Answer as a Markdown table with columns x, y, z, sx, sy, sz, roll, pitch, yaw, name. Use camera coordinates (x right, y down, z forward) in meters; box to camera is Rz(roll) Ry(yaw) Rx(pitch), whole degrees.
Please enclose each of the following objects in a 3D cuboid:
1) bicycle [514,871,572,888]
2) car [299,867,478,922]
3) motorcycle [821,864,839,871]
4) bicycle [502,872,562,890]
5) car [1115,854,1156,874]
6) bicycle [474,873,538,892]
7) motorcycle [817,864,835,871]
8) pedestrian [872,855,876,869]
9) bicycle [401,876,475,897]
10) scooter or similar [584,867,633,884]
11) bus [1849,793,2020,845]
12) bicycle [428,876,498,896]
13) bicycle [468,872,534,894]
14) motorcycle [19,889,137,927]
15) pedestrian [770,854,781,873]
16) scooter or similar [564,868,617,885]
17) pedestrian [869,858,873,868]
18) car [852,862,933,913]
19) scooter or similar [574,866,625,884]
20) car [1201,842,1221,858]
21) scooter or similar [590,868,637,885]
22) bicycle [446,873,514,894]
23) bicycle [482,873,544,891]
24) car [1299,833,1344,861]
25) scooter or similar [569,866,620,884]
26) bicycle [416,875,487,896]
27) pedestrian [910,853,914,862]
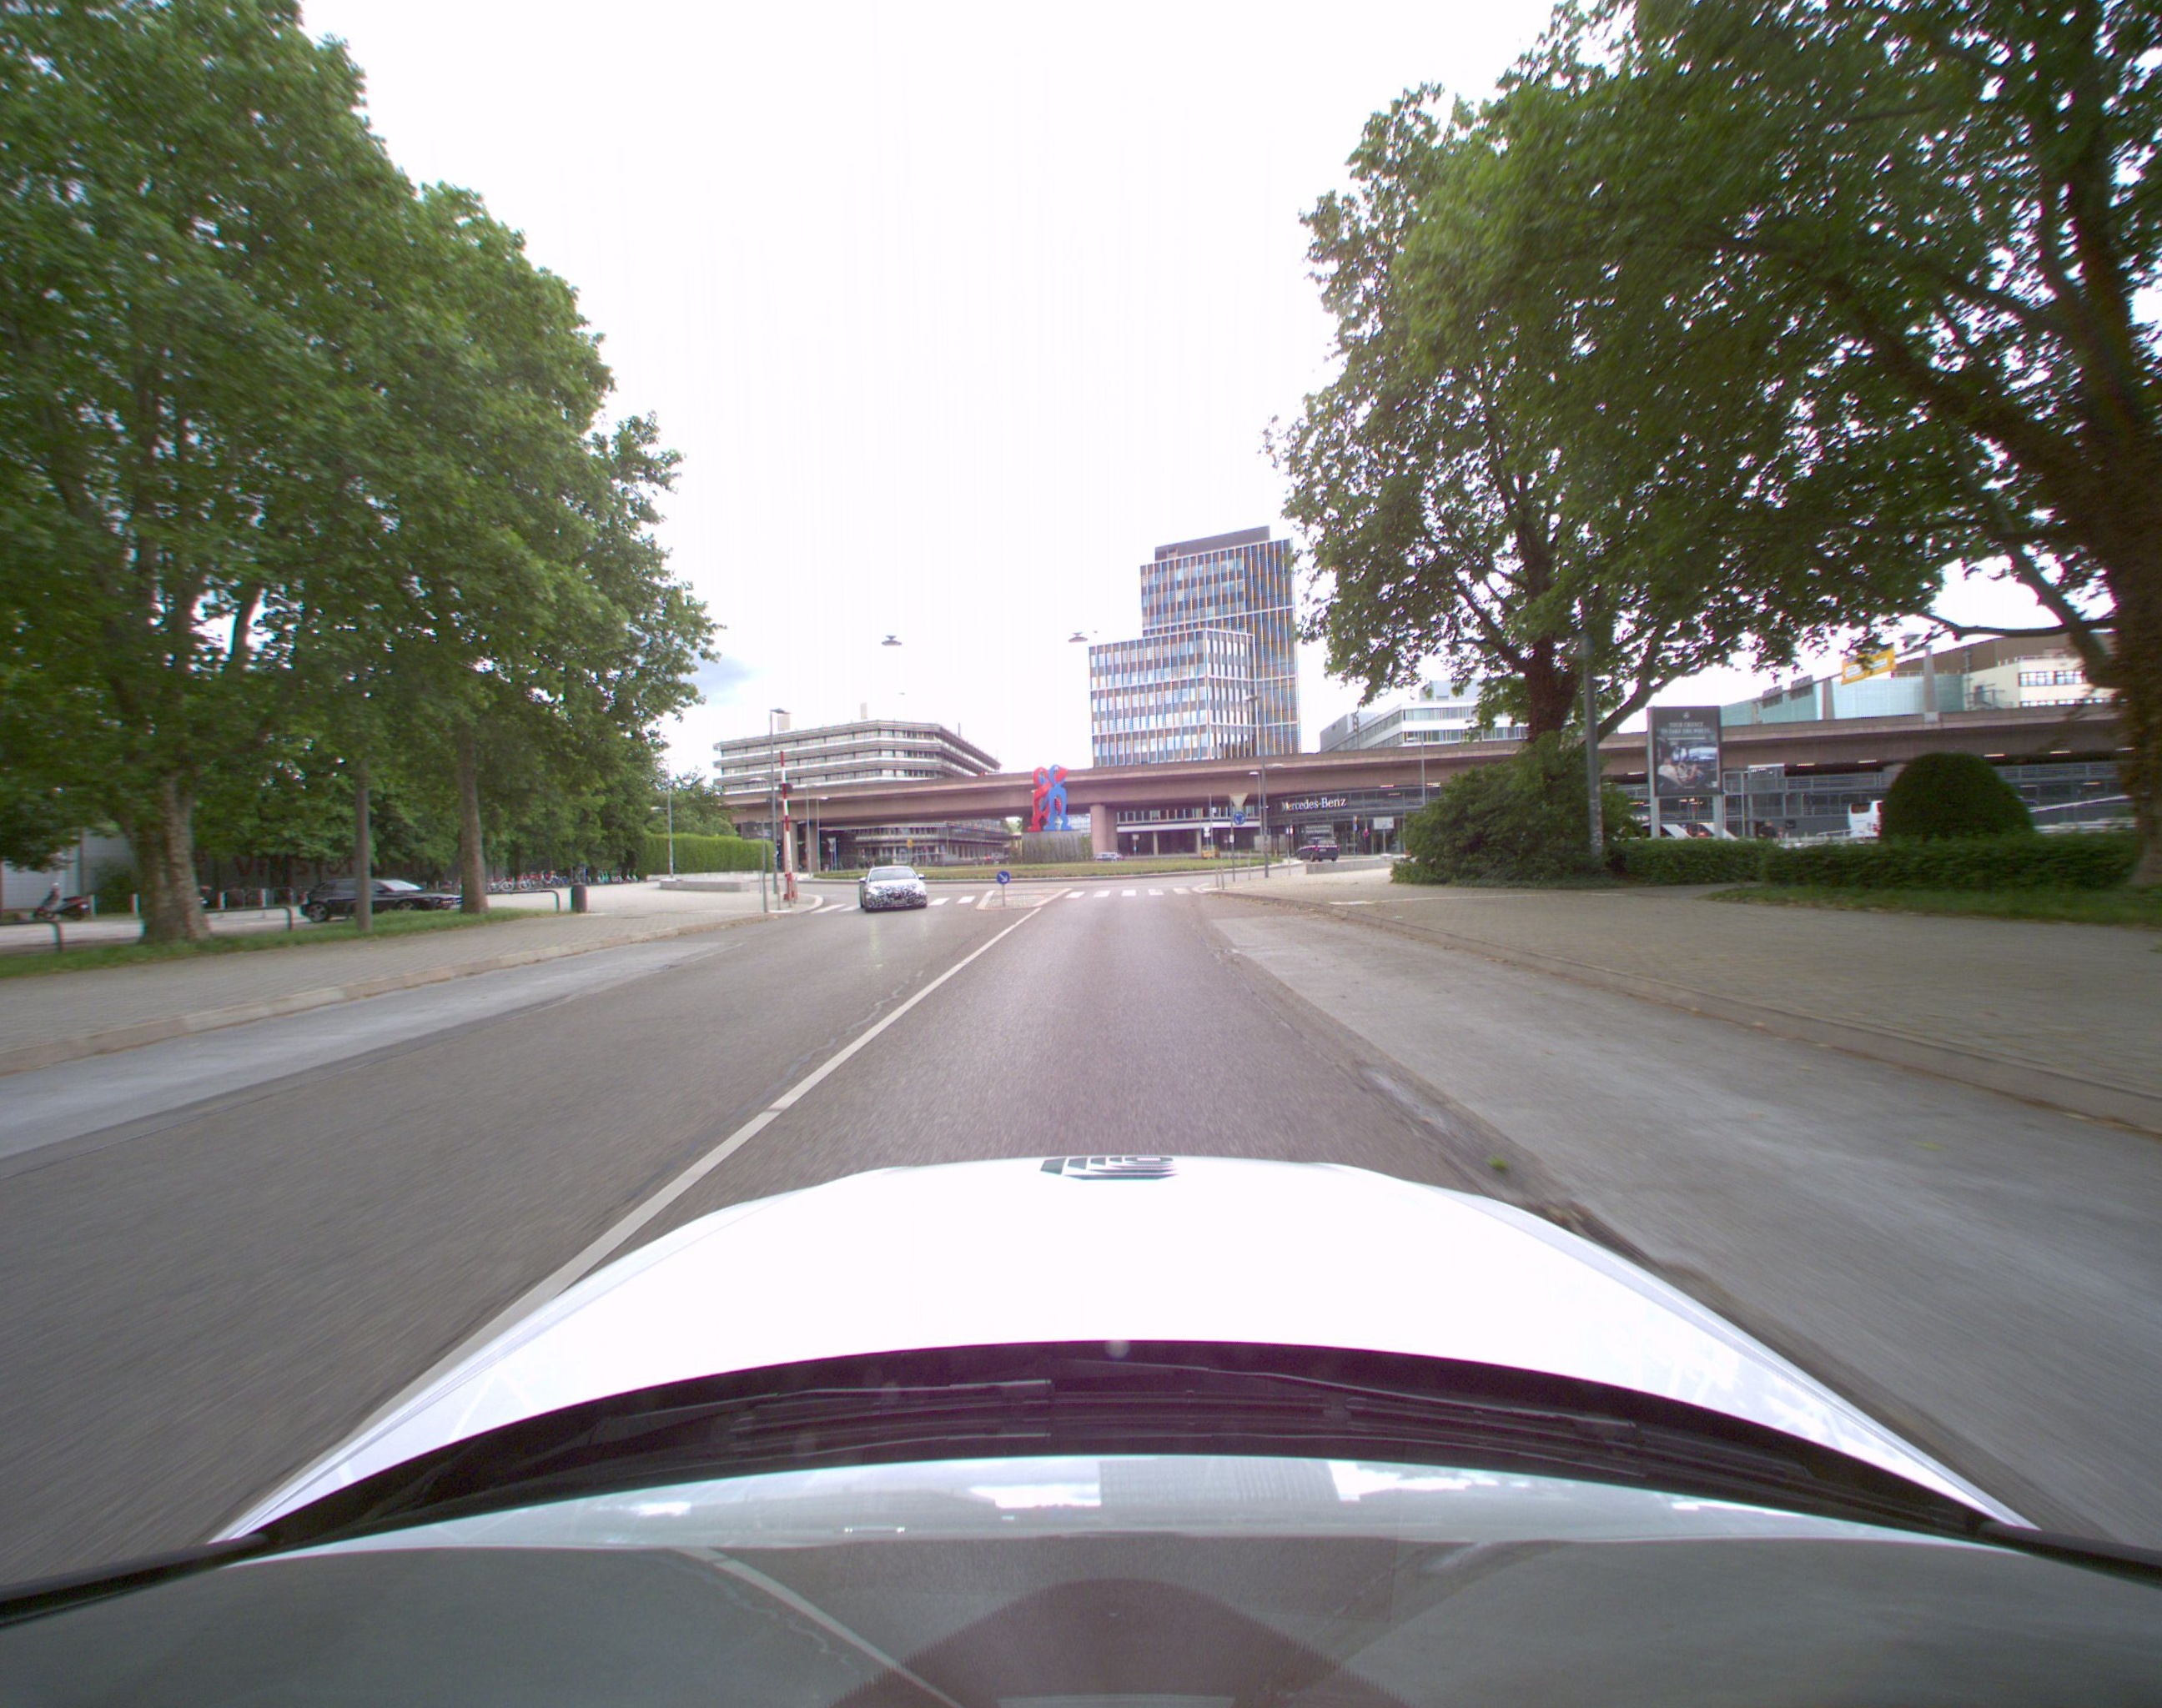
| x | y | z | sx | sy | sz | roll | pitch | yaw | name |
| --- | --- | --- | --- | --- | --- | --- | --- | --- | --- |
| -36.436 | 1.714 | 55.196 | 3.188 | 1.097 | 0.769 | -1 | -1 | -16 | bicycle |
| -23.448 | 1.338 | 27.756 | 3.986 | 1.605 | 2.225 | -2 | 0 | -9 | car |
| -41.277 | 2.169 | 134.034 | 2.630 | 1.112 | 1.044 | -1 | 0 | 21 | motorcycle |
| -36.366 | 1.779 | 53.984 | 3.188 | 1.097 | 0.769 | -1 | -1 | -16 | bicycle |
| 5.387 | 0.990 | 80.233 | 3.691 | 1.926 | 1.930 | -1 | 0 | 17 | car |
| -36.267 | 1.774 | 51.440 | 3.188 | 1.097 | 0.769 | -1 | -1 | -16 | bicycle |
| -41.624 | 2.171 | 132.778 | 2.630 | 1.112 | 1.044 | -1 | 0 | 21 | motorcycle |
| -31.275 | 1.242 | 123.075 | 0.588 | 2.014 | 0.597 | -1 | -1 | -11 | pedestrian |
| -36.086 | 1.812 | 45.763 | 3.187 | 1.097 | 0.769 | -1 | -1 | -15 | bicycle |
| -37.186 | 1.660 | 64.141 | 3.188 | 1.249 | 0.769 | -1 | -1 | -16 | scooter or similar |
| 71.888 | -2.904 | 68.777 | 10.999 | 3.934 | 2.761 | -1 | -1 | 4 | bus |
| -36.448 | 1.872 | 48.076 | 3.188 | 1.097 | 0.769 | -1 | -1 | -16 | bicycle |
| -35.850 | 1.785 | 50.347 | 3.188 | 1.097 | 0.769 | -3 | 0 | -16 | bicycle |
| -35.863 | 1.934 | 29.141 | 3.642 | 1.222 | 0.774 | -1 | -1 | 6 | motorcycle |
| -32.799 | 1.027 | 87.485 | 1.043 | 2.014 | 0.596 | -1 | -1 | -12 | pedestrian |
| -35.911 | 1.639 | 59.692 | 3.188 | 1.097 | 0.769 | -1 | -1 | -16 | scooter or similar |
| -44.390 | 1.866 | 172.353 | 0.779 | 2.014 | 0.665 | -1 | -1 | -23 | pedestrian |
| -6.485 | 1.080 | 27.608 | 1.908 | 1.453 | 4.779 | -4 | 0 | -22 | car |
| -36.423 | 1.553 | 61.690 | 3.188 | 1.249 | 0.769 | -1 | -1 | -16 | scooter or similar |
| 17.023 | -0.562 | 106.546 | 1.978 | 2.014 | 4.018 | -1 | 0 | 17 | car |
| -37.327 | 1.758 | 65.072 | 3.188 | 1.249 | 0.769 | -1 | -1 | -16 | scooter or similar |
| -36.302 | 1.788 | 49.231 | 3.188 | 1.097 | 0.769 | -2 | 0 | -16 | bicycle |
| -36.586 | 1.790 | 52.474 | 3.188 | 1.097 | 0.769 | -1 | -1 | -16 | bicycle |
| 18.450 | -0.509 | 62.769 | 2.266 | 2.014 | 4.788 | -1 | 0 | 3 | car |
| -36.174 | 1.537 | 60.598 | 3.188 | 1.249 | 0.769 | -1 | -1 | -16 | scooter or similar |
| -36.367 | 1.798 | 47.101 | 3.187 | 1.097 | 0.769 | -1 | -1 | -15 | bicycle |
| -35.561 | 0.747 | 171.513 | 0.773 | 2.013 | 0.671 | -2 | 0 | 0 | pedestrian |
